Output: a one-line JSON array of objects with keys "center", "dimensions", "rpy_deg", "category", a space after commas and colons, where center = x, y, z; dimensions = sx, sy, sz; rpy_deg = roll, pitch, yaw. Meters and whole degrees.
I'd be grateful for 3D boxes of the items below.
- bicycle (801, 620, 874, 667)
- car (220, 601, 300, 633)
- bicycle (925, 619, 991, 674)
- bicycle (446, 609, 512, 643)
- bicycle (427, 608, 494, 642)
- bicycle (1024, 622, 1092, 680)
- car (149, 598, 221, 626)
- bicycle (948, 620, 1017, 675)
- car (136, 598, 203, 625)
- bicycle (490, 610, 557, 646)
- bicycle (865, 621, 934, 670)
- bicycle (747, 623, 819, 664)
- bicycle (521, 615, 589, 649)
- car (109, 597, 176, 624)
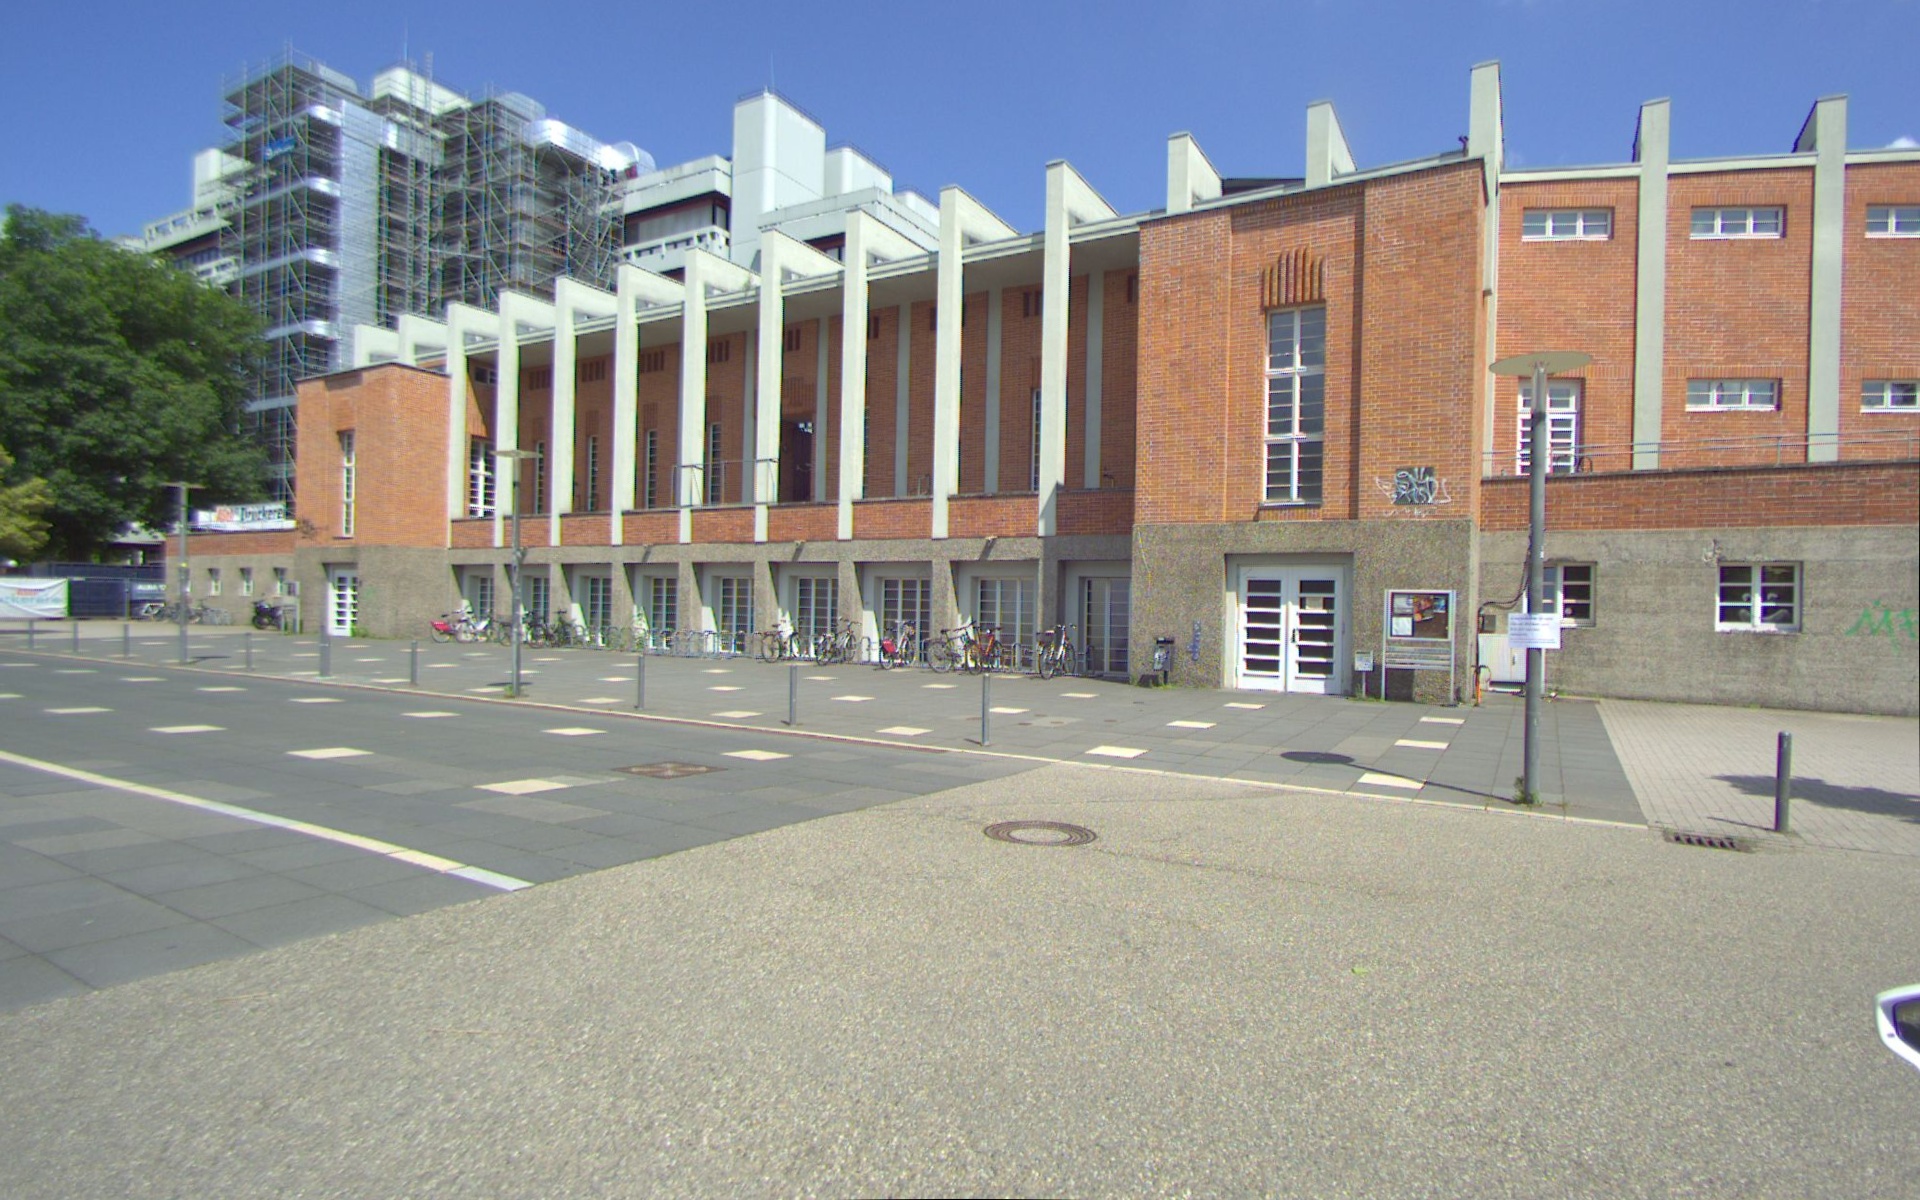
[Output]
[{"center": [-2.944, 1.024, 24.355], "dimensions": [0.651, 1.075, 2.025], "rpy_deg": [1, 0, 29], "category": "bicycle"}, {"center": [-27.345, 0.683, 39.285], "dimensions": [0.621, 1.196, 2.524], "rpy_deg": [1, 0, 32], "category": "car"}, {"center": [-0.026, 1.035, 22.906], "dimensions": [0.431, 1.141, 2.022], "rpy_deg": [1, 1, 34], "category": "bicycle"}, {"center": [-15.273, 0.831, 31.940], "dimensions": [0.509, 1.044, 1.953], "rpy_deg": [1, 0, 29], "category": "bicycle"}, {"center": [-16.133, 0.811, 32.484], "dimensions": [0.532, 1.044, 1.953], "rpy_deg": [1, 0, 29], "category": "bicycle"}, {"center": [2.093, 1.048, 21.297], "dimensions": [0.655, 1.140, 2.025], "rpy_deg": [1, 0, 29], "category": "bicycle"}, {"center": [-33.758, 0.527, 43.776], "dimensions": [0.780, 1.196, 2.364], "rpy_deg": [1, 0, 32], "category": "car"}, {"center": [0.529, 1.034, 22.281], "dimensions": [0.582, 1.140, 2.024], "rpy_deg": [1, 0, 31], "category": "bicycle"}, {"center": [-35.191, 0.519, 44.755], "dimensions": [0.515, 1.196, 2.285], "rpy_deg": [1, 0, 32], "category": "car"}, {"center": [-13.326, 0.857, 30.700], "dimensions": [0.520, 1.044, 1.953], "rpy_deg": [1, 0, 29], "category": "bicycle"}, {"center": [-1.395, 1.039, 23.537], "dimensions": [0.610, 1.096, 2.013], "rpy_deg": [1, 0, 29], "category": "bicycle"}, {"center": [-4.409, 1.075, 25.206], "dimensions": [0.672, 0.973, 1.953], "rpy_deg": [1, 0, 29], "category": "bicycle"}, {"center": [-12.046, 0.945, 29.945], "dimensions": [0.559, 0.953, 1.953], "rpy_deg": [1, 0, 29], "category": "bicycle"}, {"center": [-37.315, 0.493, 45.899], "dimensions": [0.471, 1.196, 2.321], "rpy_deg": [1, 0, 32], "category": "car"}]
